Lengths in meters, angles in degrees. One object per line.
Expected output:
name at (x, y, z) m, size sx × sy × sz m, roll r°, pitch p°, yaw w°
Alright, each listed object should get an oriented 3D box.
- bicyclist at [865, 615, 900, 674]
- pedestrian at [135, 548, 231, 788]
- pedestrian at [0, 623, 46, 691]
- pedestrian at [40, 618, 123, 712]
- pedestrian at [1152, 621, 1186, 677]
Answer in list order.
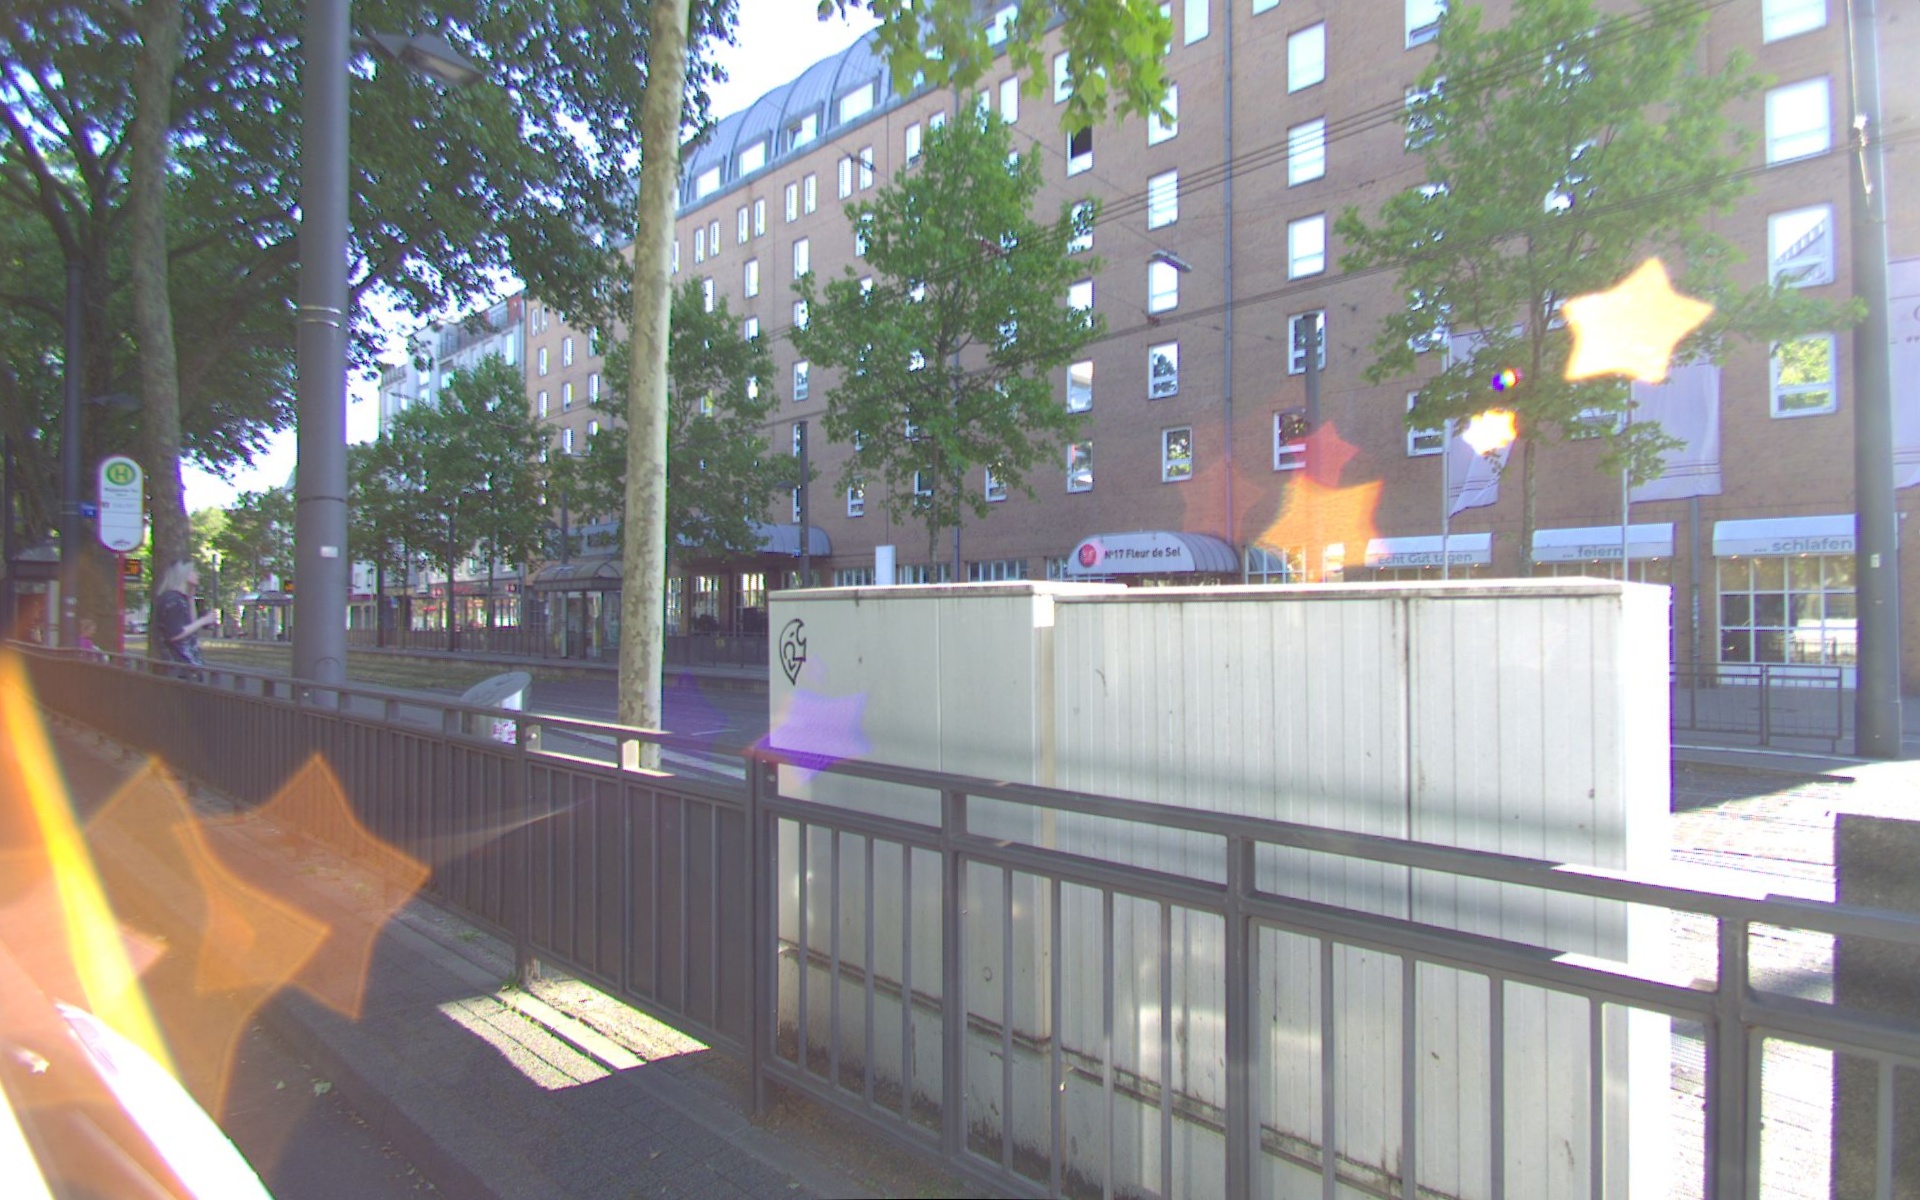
bicyclist at (-2.422, 1.377, 31.625) m, size 0.852 × 1.799 × 0.742 m, roll -2°, pitch -3°, yaw 44°
pedestrian at (-6.536, 0.539, 8.511) m, size 0.760 × 1.914 × 0.504 m, roll -1°, pitch 0°, yaw 42°
pedestrian at (-20.144, 1.209, 21.740) m, size 0.725 × 1.398 × 0.641 m, roll -1°, pitch 0°, yaw -44°
pedestrian at (-14.054, 1.012, 16.191) m, size 0.965 × 1.410 × 0.665 m, roll -1°, pitch 0°, yaw -44°
pedestrian at (6.150, 1.437, 29.804) m, size 0.725 × 1.596 × 0.583 m, roll -3°, pitch 0°, yaw 40°
